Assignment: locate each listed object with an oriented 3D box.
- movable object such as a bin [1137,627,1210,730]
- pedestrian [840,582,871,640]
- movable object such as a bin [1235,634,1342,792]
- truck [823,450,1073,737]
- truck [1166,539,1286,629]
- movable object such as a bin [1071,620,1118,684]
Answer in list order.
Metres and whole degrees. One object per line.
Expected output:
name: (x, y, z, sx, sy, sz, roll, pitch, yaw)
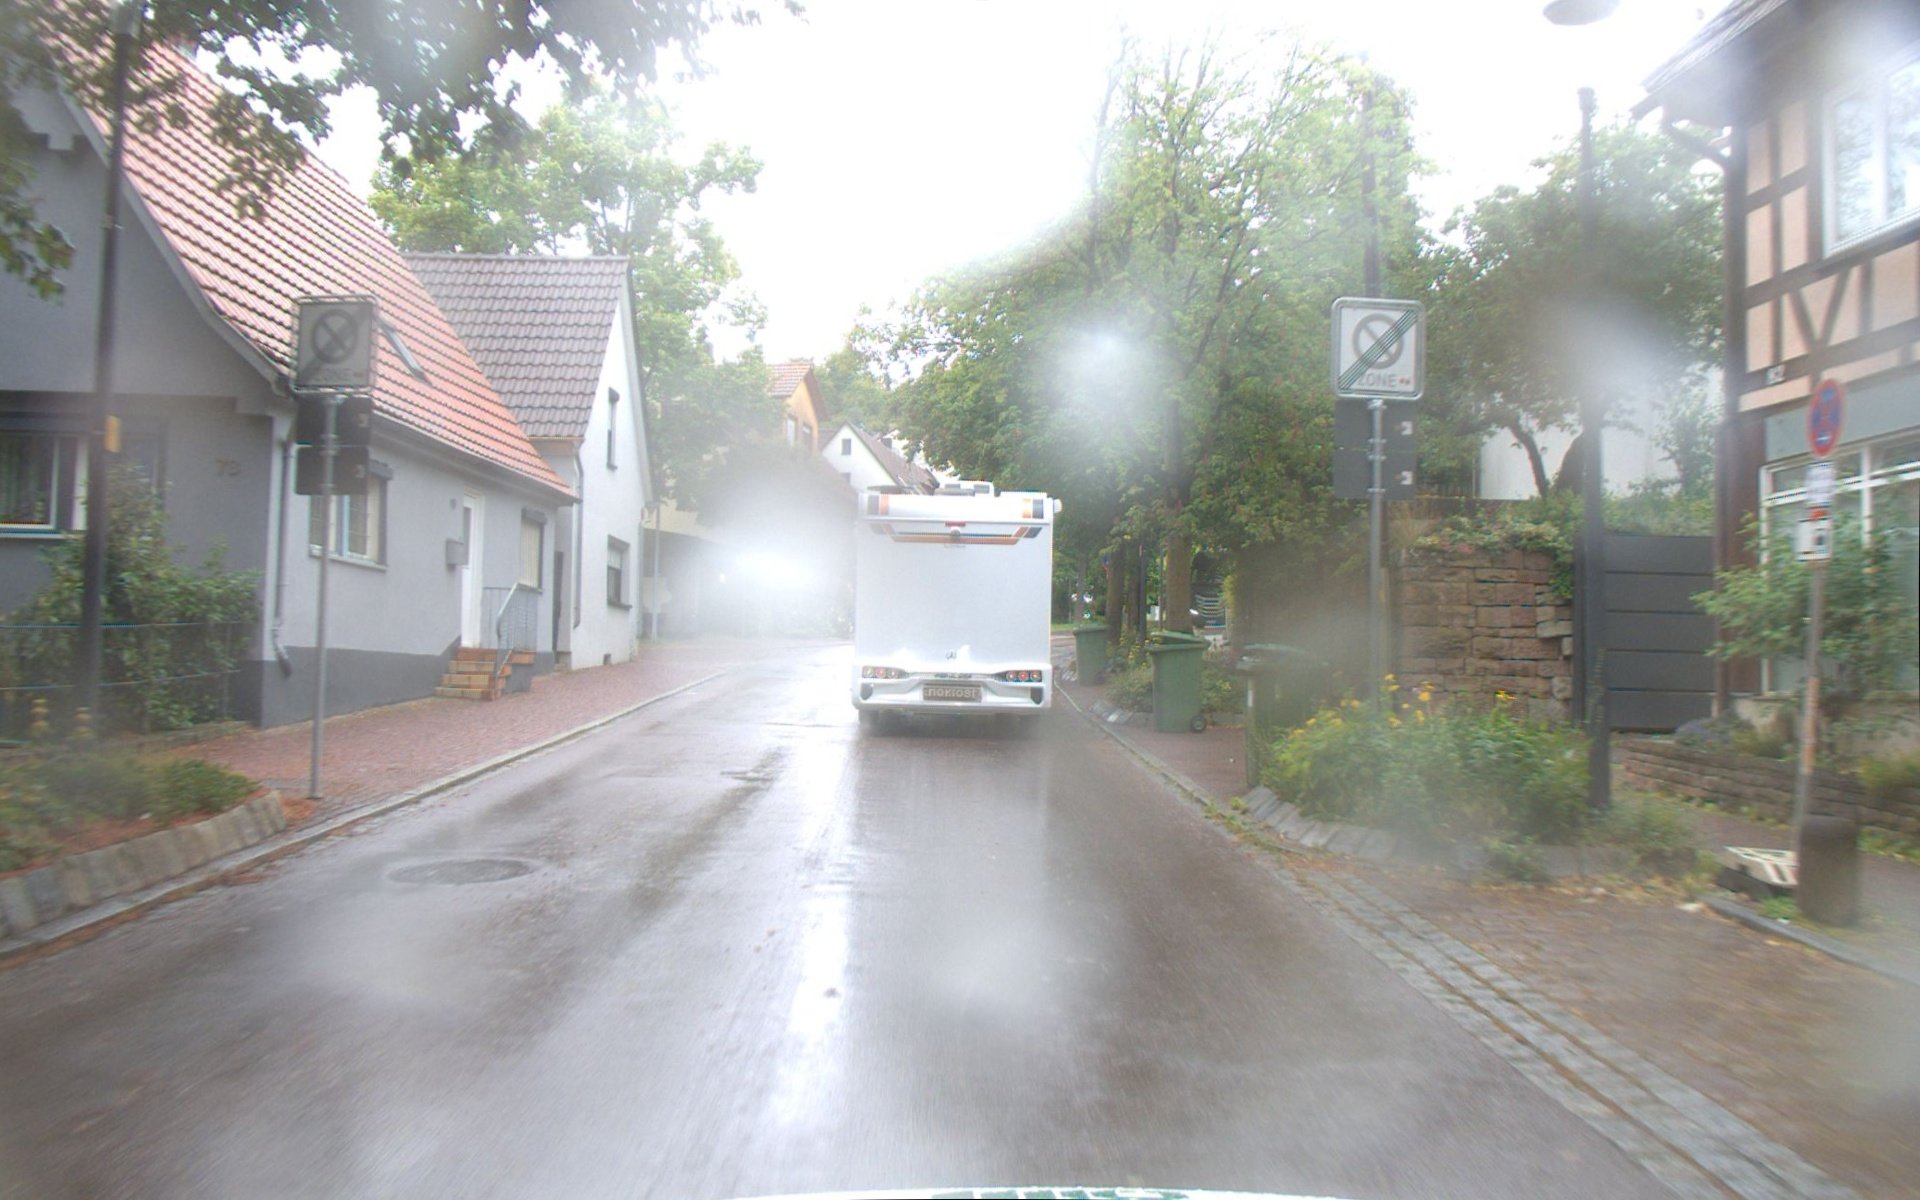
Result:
movable object such as a bin: (2.496, 0.908, 19.406, 0.709, 1.163, 0.703, 1, -1, -4)
pedestrian: (-3.486, 0.362, 55.102, 0.776, 1.901, 0.917, 1, -1, 12)
movable object such as a bin: (2.685, 0.911, 13.567, 0.706, 1.234, 0.727, 1, -1, -1)
truck: (-0.191, -0.087, 20.994, 2.640, 3.038, 6.235, 1, 0, -1)
truck: (13.461, -0.710, 82.724, 2.784, 4.239, 9.962, 1, 0, 28)
movable object such as a bin: (2.431, 0.927, 29.961, 0.753, 1.126, 0.884, -1, -1, -1)
